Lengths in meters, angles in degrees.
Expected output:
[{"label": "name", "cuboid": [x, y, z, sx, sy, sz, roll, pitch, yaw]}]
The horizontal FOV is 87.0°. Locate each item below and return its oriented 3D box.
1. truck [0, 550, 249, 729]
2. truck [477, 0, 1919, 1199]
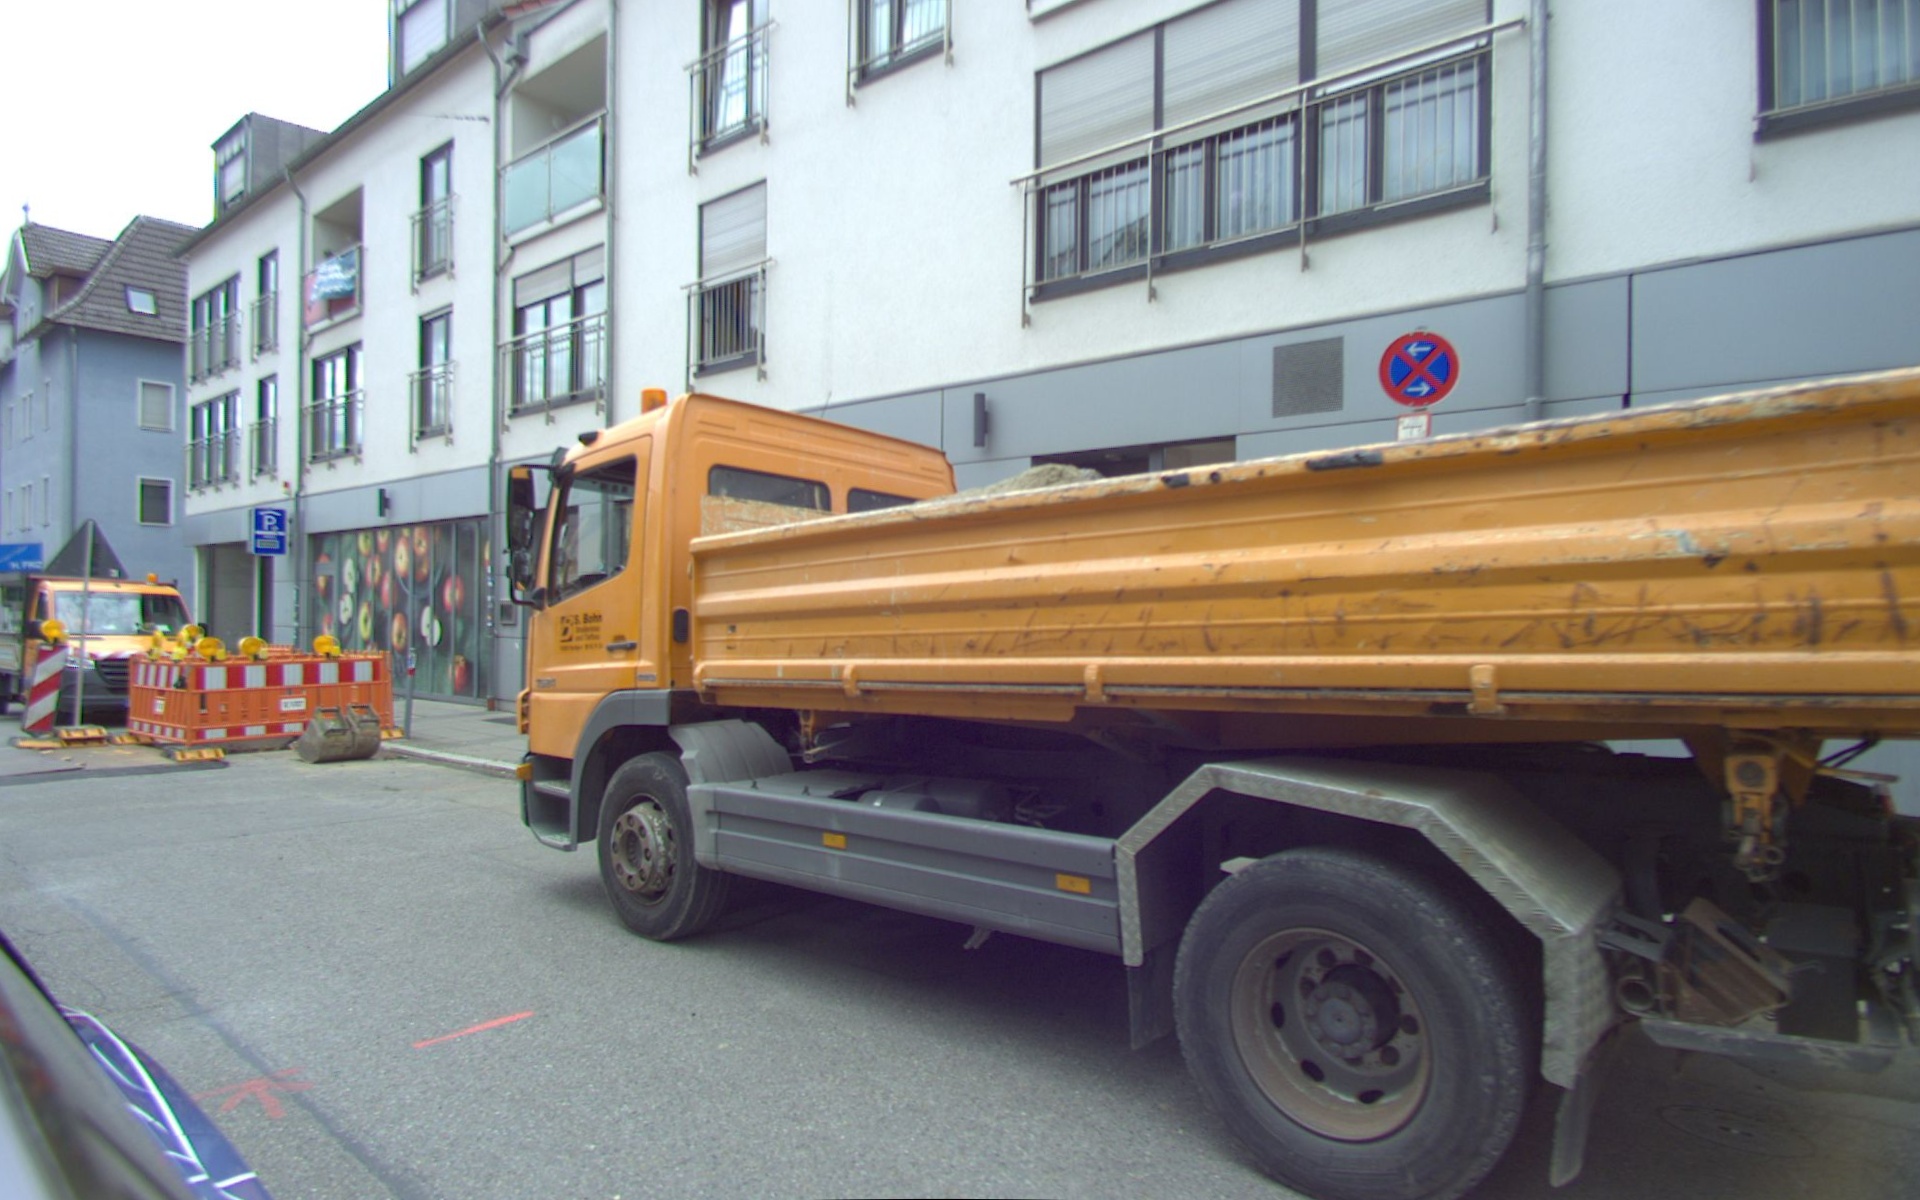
[{"label": "truck", "cuboid": [-14.475, 0.675, 16.964, 6.298, 2.485, 2.390, -2, -3, 38]}, {"label": "truck", "cuboid": [0.781, 0.185, 4.354, 6.845, 2.746, 2.702, -2, -3, 41]}]
